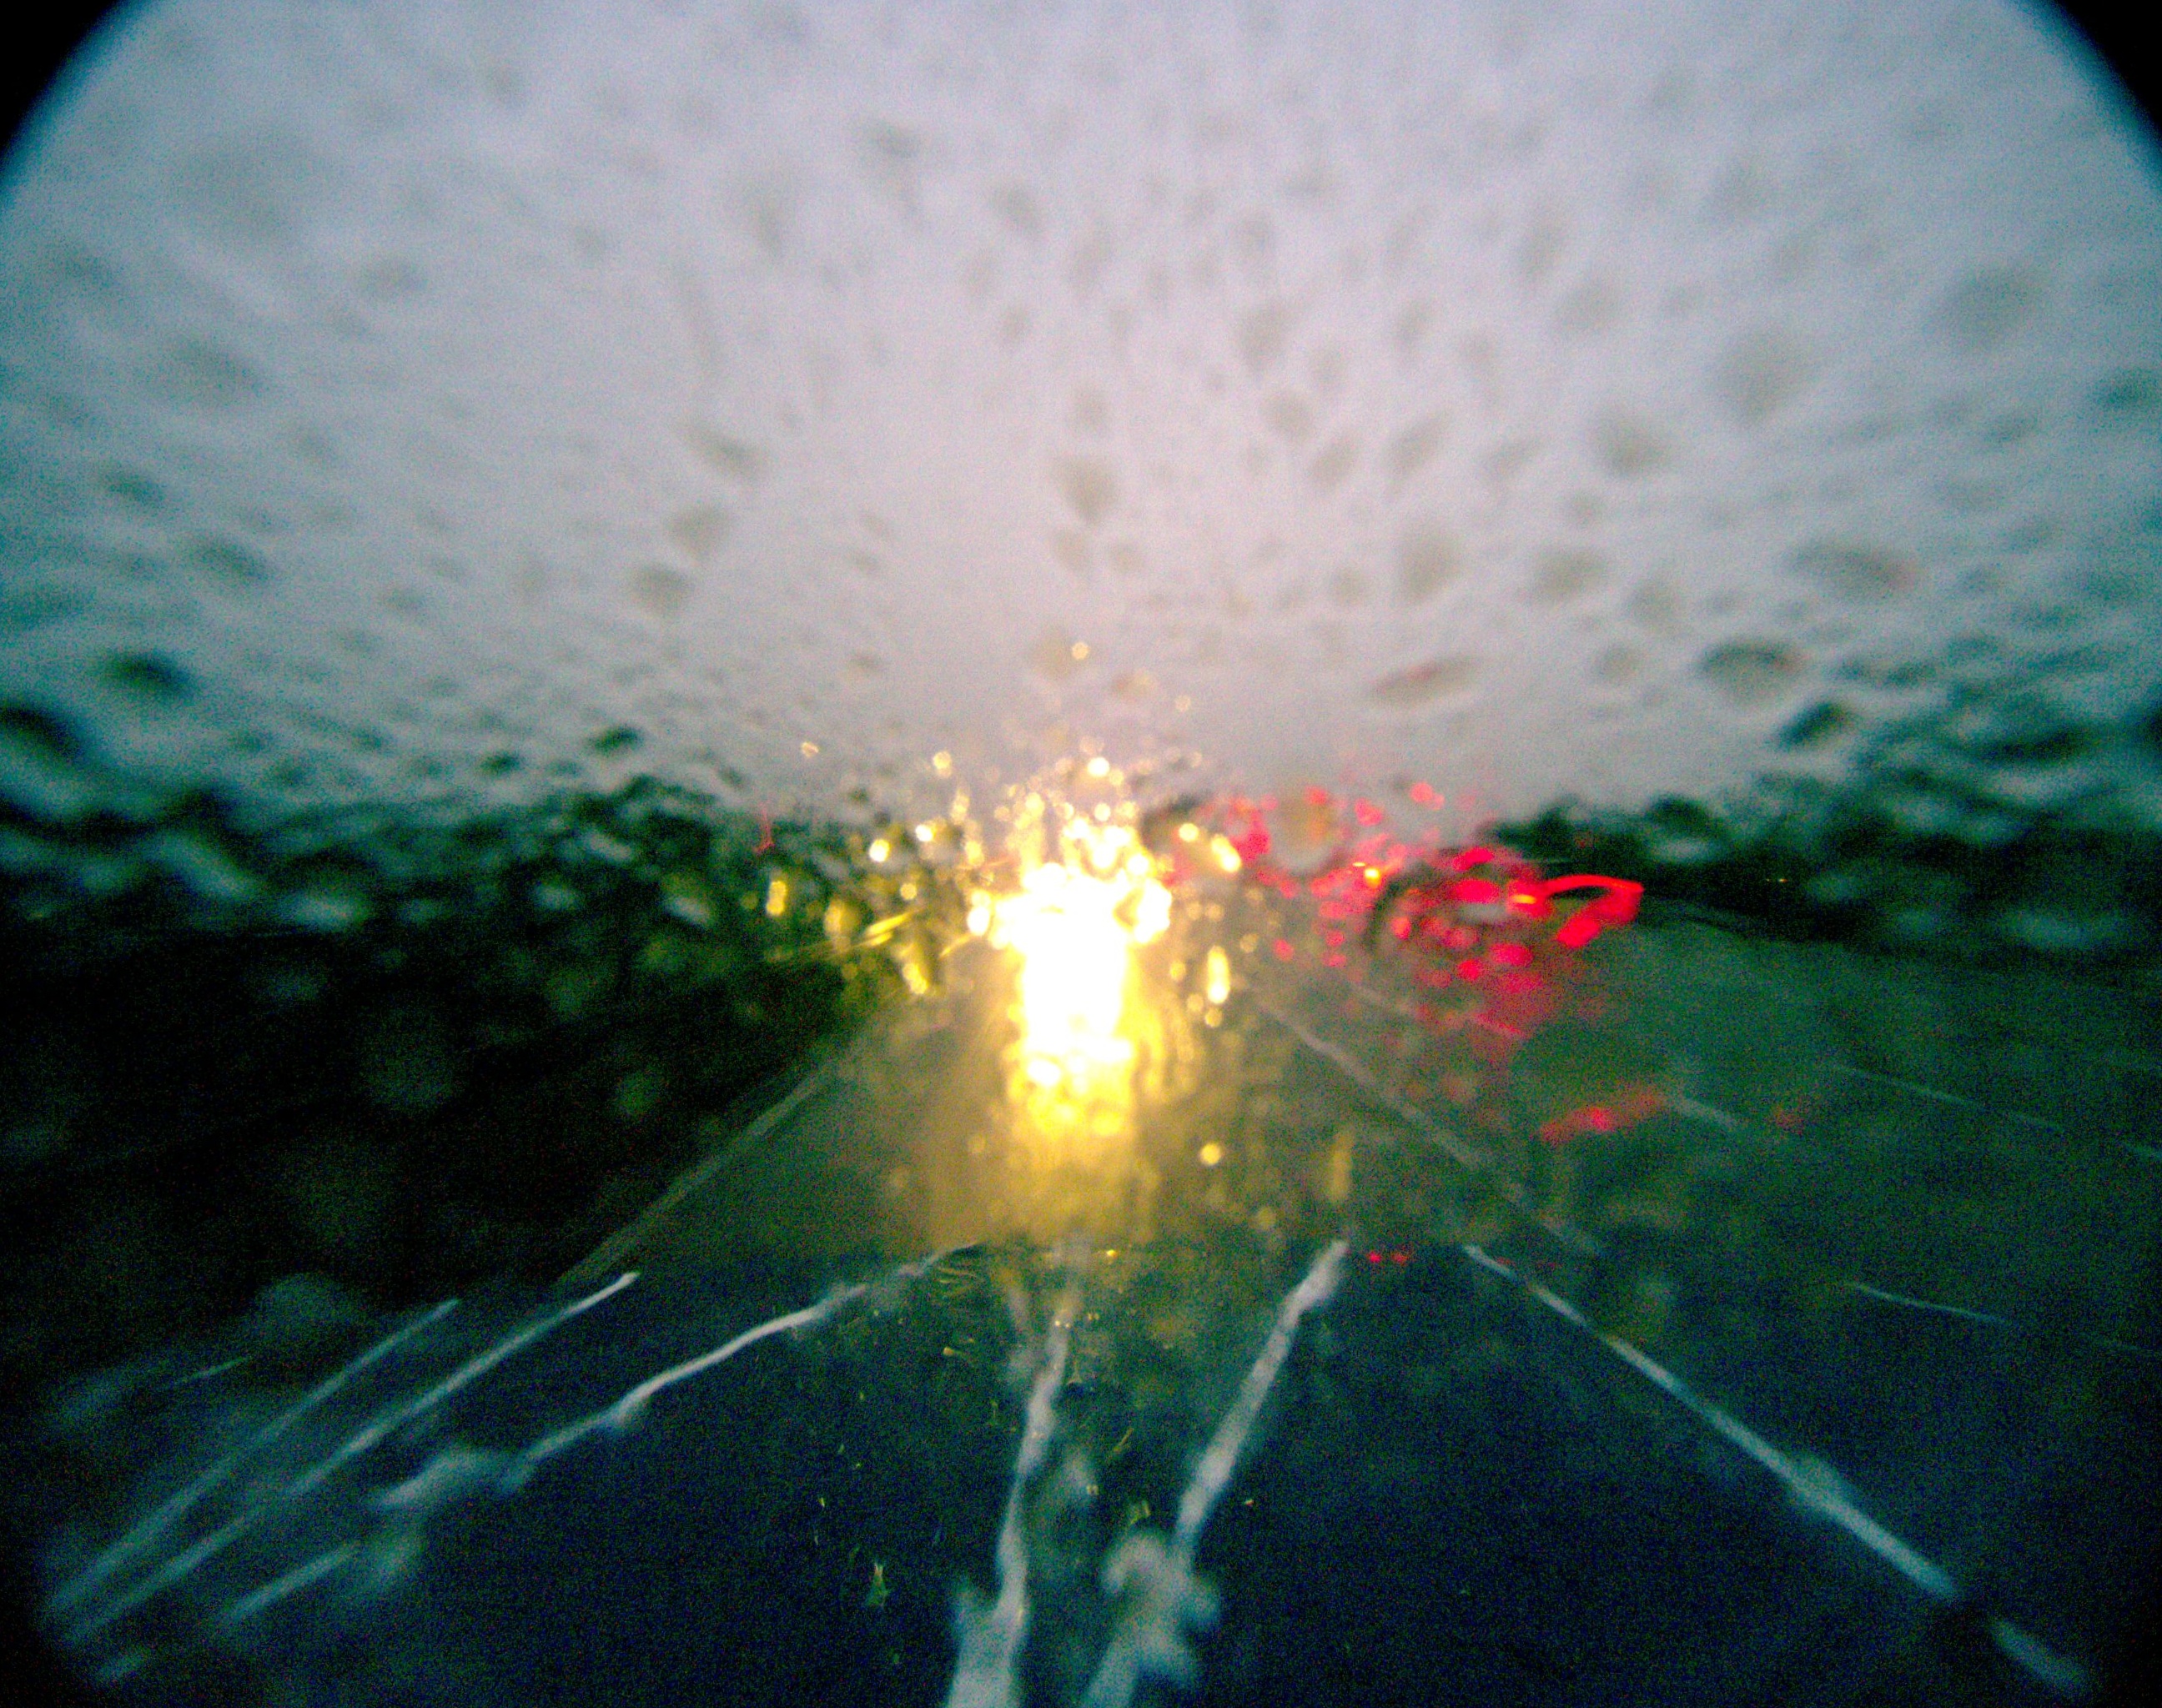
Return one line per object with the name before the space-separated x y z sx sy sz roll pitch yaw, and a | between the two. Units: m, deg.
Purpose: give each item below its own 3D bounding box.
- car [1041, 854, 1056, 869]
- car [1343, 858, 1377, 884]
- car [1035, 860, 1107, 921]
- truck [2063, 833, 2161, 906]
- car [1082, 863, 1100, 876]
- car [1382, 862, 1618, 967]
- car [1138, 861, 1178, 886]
car | -5.037 1.171 117.670 1.878 2.124 5.177 3 -1 -7
car | 15.076 0.889 41.152 1.597 1.236 4.006 -3 -1 19
car | -0.239 0.996 22.425 1.886 1.514 4.000 -2 0 1
truck | 69.833 0.991 47.305 3.279 4.584 13.892 0 1 18
car | 1.420 2.141 106.258 1.920 1.622 3.858 3 -3 -8
car | 6.871 0.888 13.093 1.640 1.463 4.449 -1 -1 1
car | 4.593 1.140 45.759 1.700 1.409 3.999 -1 0 -4
